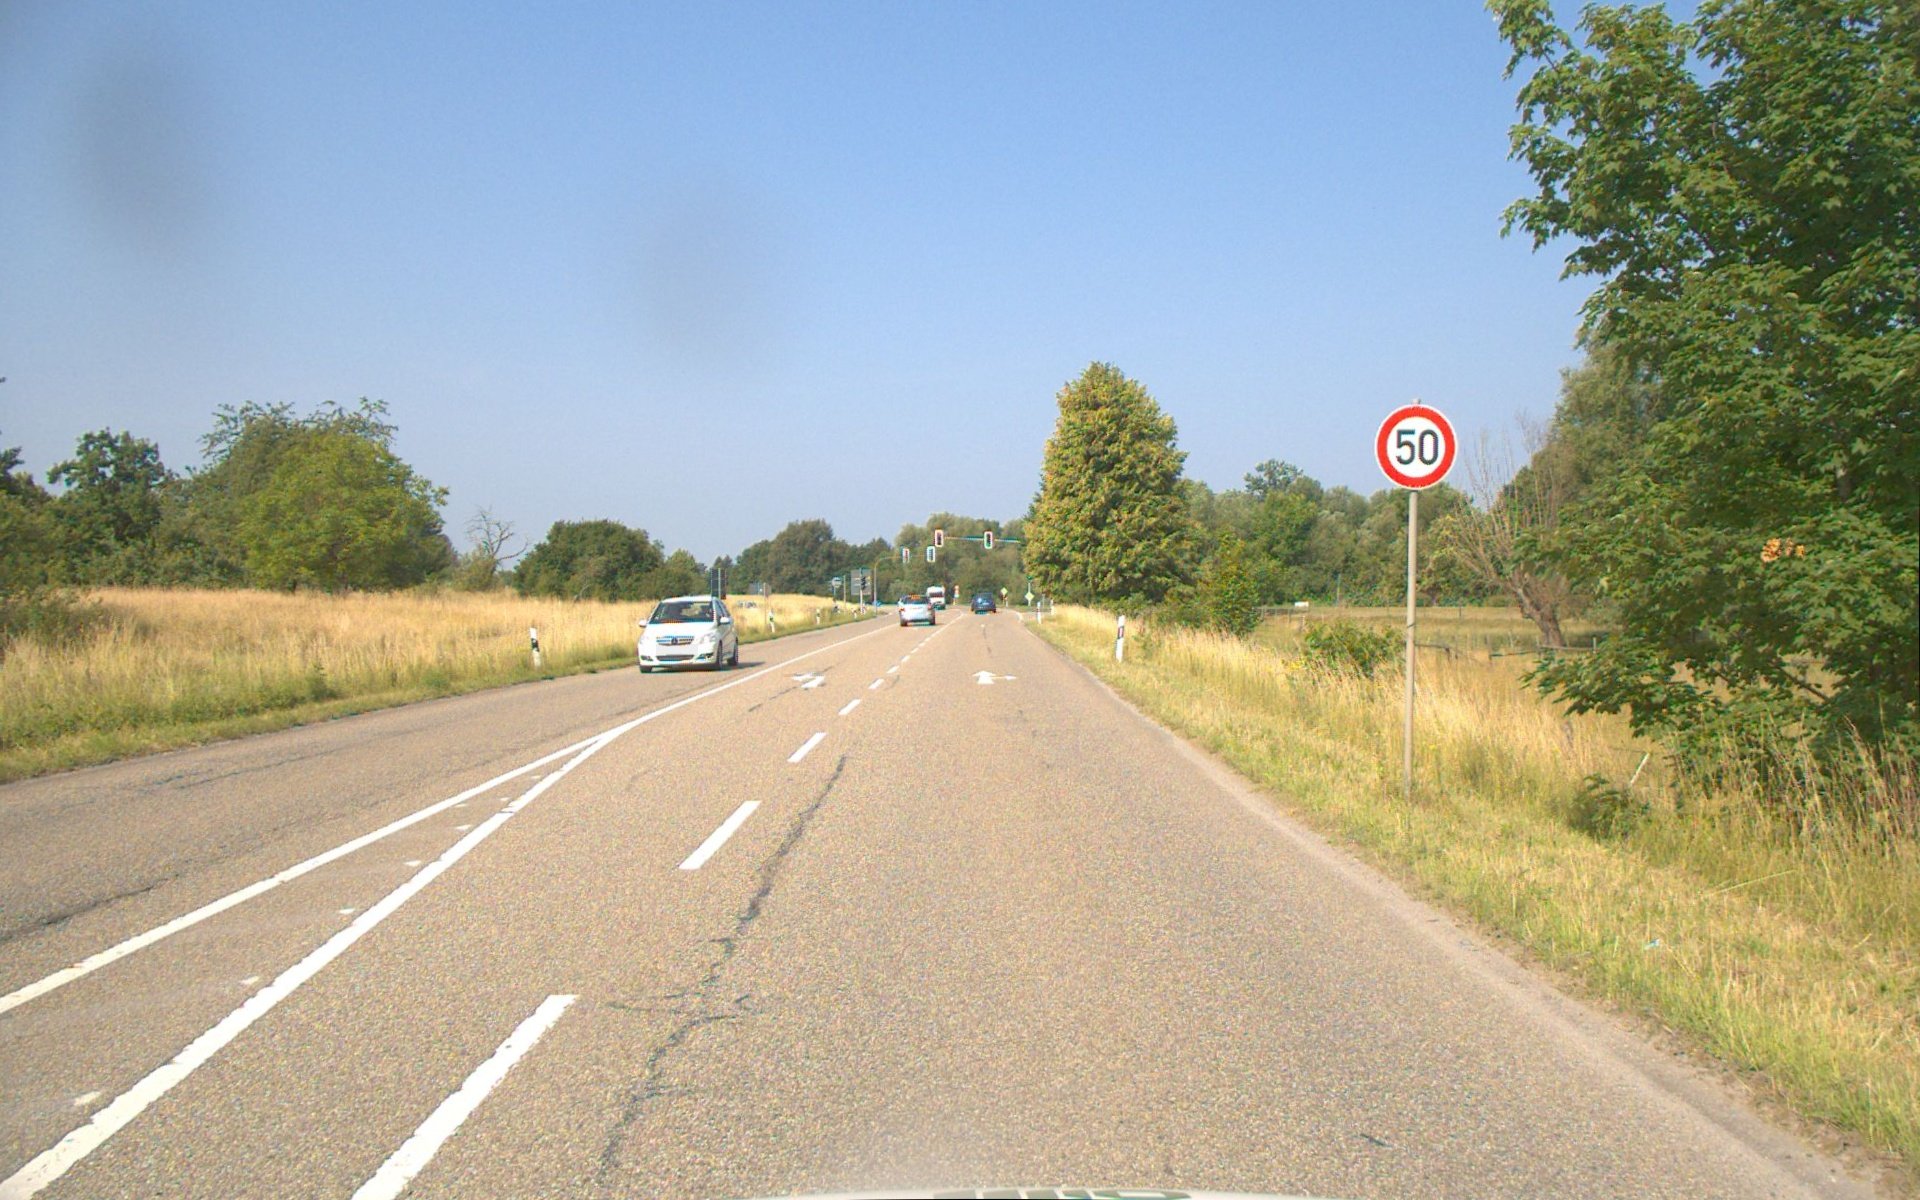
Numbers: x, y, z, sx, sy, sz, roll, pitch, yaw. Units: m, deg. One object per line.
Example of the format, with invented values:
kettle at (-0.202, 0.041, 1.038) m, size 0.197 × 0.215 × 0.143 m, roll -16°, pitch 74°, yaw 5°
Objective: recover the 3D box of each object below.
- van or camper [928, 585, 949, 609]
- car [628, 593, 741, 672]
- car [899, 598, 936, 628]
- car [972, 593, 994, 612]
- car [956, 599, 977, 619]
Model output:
van or camper at (-2.484, -0.374, 196.088) m, size 2.218 × 2.757 × 5.263 m, roll 2°, pitch 0°, yaw 2°
car at (-6.054, 0.670, 36.772) m, size 1.775 × 1.612 × 4.224 m, roll -2°, pitch 0°, yaw 0°
car at (-2.295, 0.680, 89.380) m, size 1.860 × 1.538 × 4.000 m, roll 2°, pitch 0°, yaw 0°
car at (1.941, 0.172, 136.693) m, size 1.778 × 1.547 × 4.000 m, roll 0°, pitch 0°, yaw 1°
car at (0.642, 0.837, 161.613) m, size 1.952 × 1.847 × 4.000 m, roll 2°, pitch 0°, yaw 0°
